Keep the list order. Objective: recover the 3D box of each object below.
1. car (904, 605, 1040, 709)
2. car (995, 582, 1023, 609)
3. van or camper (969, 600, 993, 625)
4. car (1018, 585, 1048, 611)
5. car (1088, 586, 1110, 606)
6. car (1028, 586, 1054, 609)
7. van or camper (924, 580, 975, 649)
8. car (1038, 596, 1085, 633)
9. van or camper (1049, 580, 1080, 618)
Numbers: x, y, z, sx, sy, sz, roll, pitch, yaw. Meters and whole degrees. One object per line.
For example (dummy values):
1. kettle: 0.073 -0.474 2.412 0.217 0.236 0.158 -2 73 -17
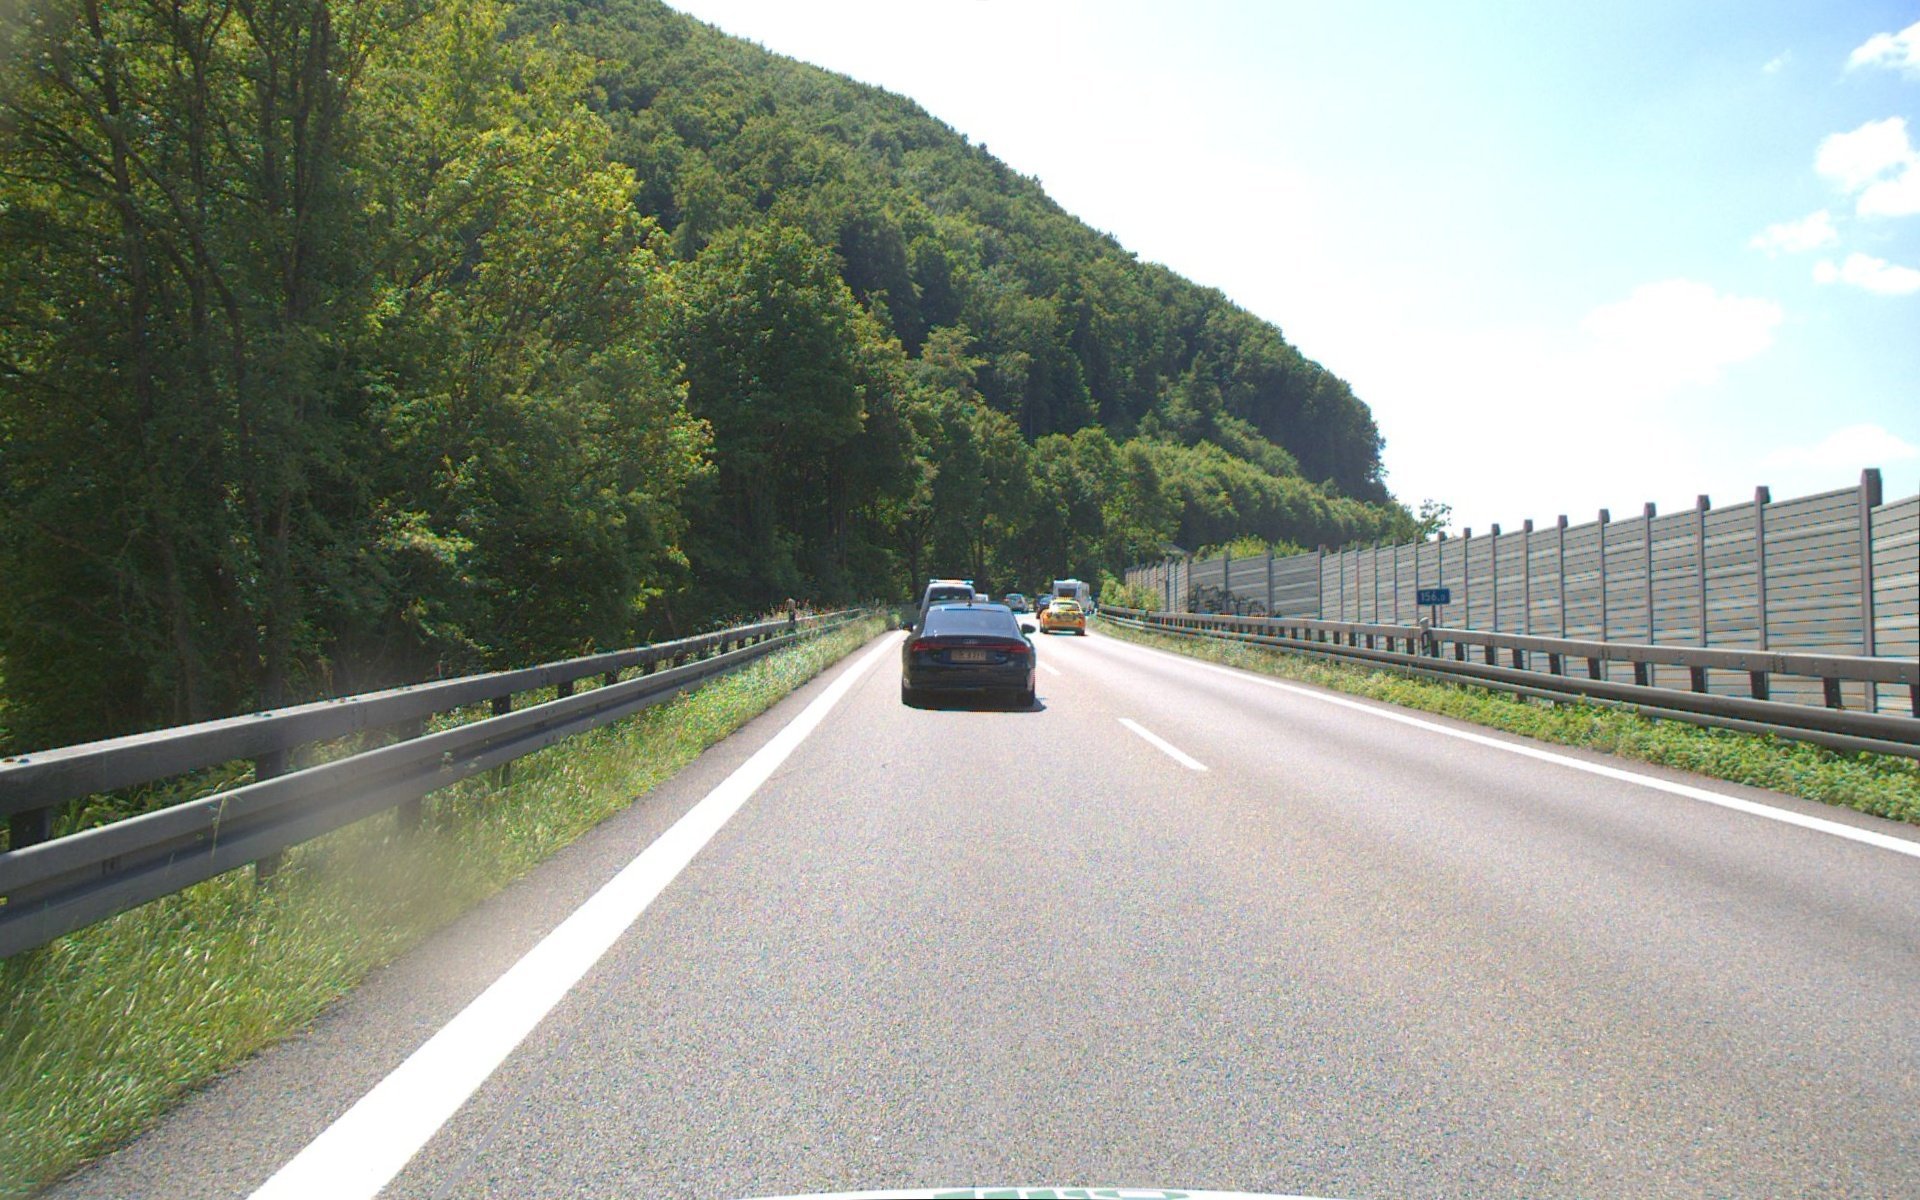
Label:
1. car: 0.139 0.761 23.883 1.800 1.373 3.999 0 0 -1
2. car: 3.858 -0.339 130.723 1.953 2.049 3.999 0 0 -1
3. van or camper: 1.334 0.799 106.513 1.526 1.561 3.505 0 0 0
4. car: 4.885 -0.128 111.032 1.737 1.665 3.999 1 0 -1
5. car: 14.536 -0.427 172.551 1.951 2.049 4.003 0 0 9
6. car: 7.264 -0.209 148.016 1.951 2.049 4.003 0 0 8
7. van or camper: -0.300 0.389 46.372 1.363 1.847 3.999 0 0 -1
8. car: 4.340 0.621 71.130 1.824 1.514 4.000 0 0 0
9. van or camper: 8.417 -0.075 133.697 2.404 2.969 6.128 0 0 3
